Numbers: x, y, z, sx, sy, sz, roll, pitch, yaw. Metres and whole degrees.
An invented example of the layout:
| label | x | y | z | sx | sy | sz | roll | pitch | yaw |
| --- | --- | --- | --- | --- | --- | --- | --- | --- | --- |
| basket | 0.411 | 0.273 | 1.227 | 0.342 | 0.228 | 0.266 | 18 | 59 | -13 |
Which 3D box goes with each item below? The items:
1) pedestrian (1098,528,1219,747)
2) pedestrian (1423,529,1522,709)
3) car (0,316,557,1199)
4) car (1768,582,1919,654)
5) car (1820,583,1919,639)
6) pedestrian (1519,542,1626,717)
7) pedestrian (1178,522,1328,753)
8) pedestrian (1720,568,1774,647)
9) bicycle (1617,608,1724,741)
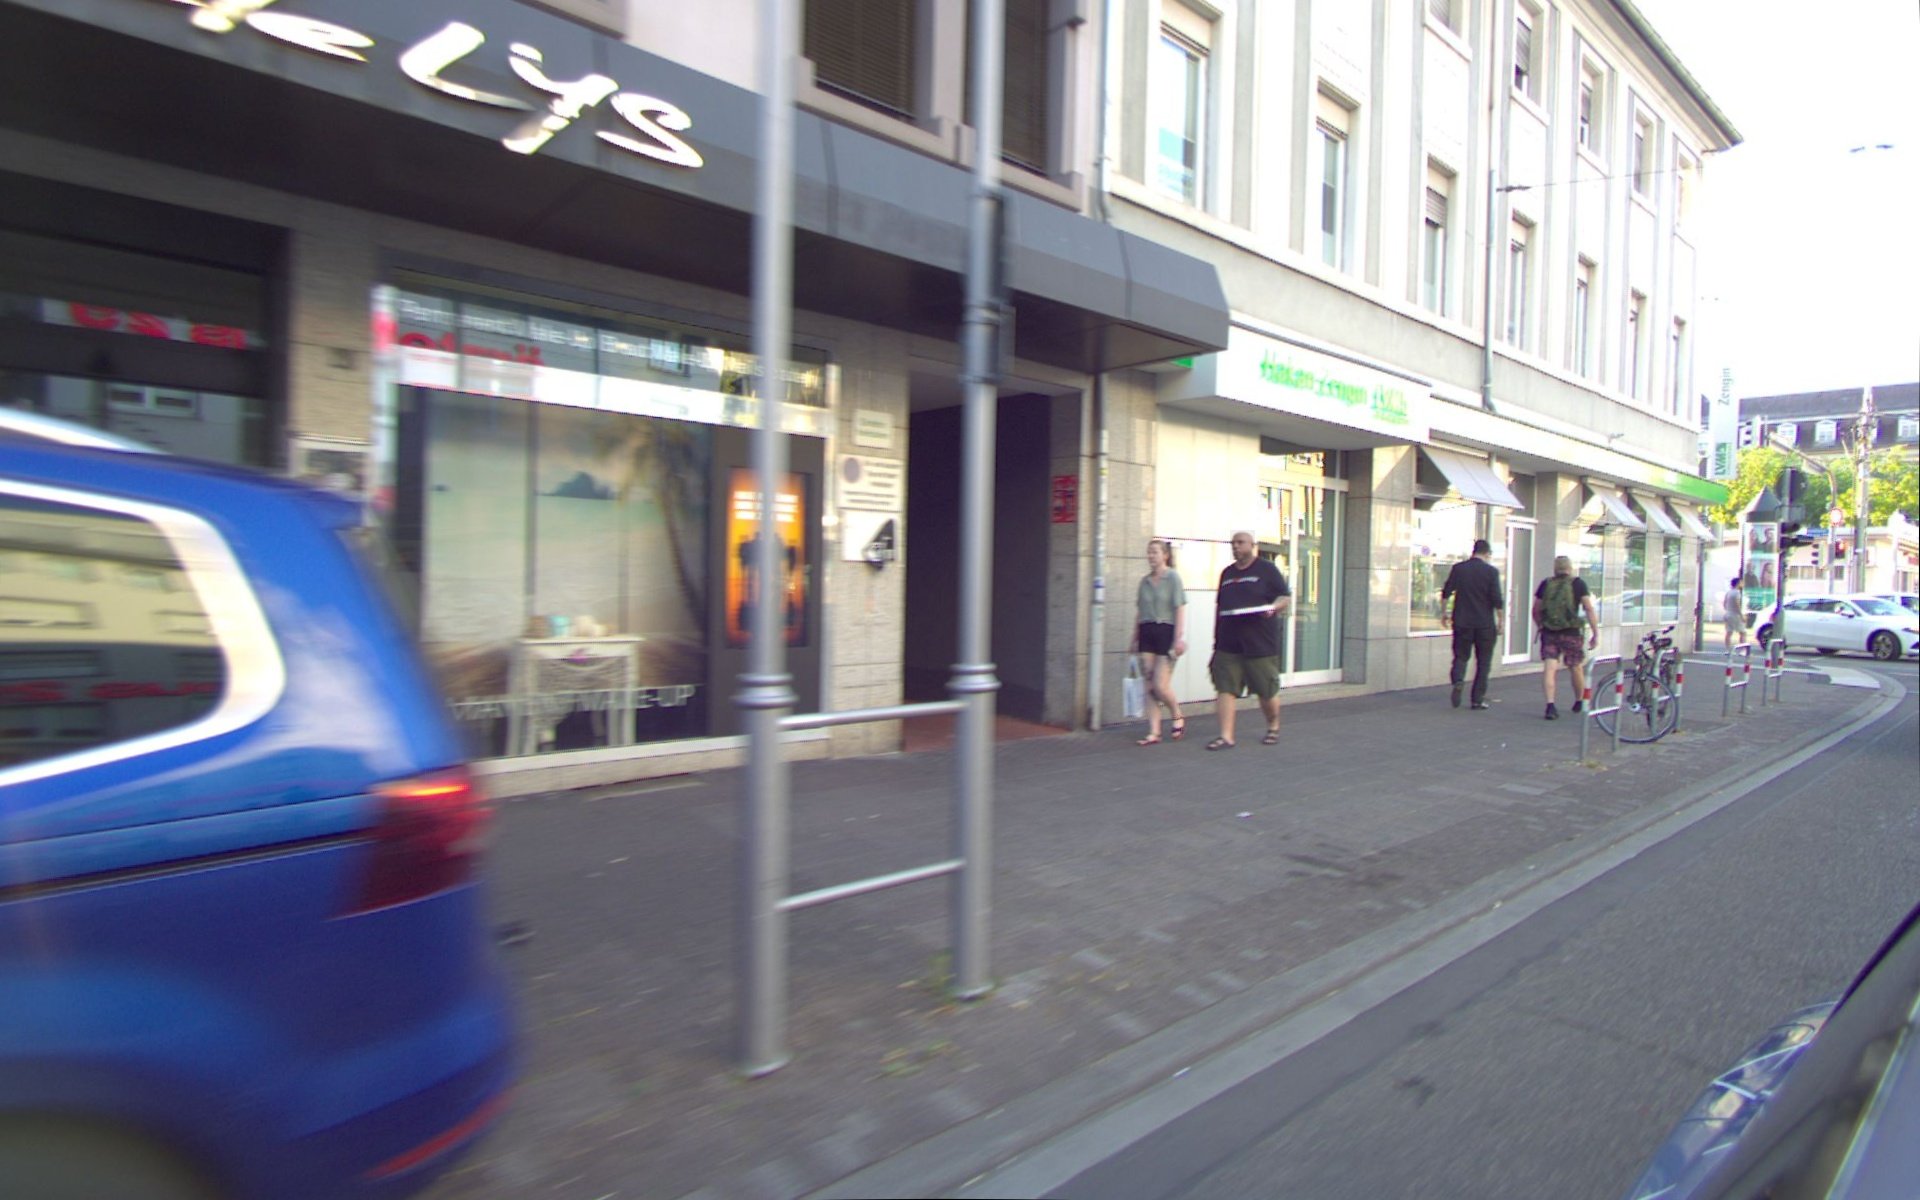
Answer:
| label | x | y | z | sx | sy | sz | roll | pitch | yaw |
| --- | --- | --- | --- | --- | --- | --- | --- | --- | --- |
| pedestrian | 1.671 | 0.285 | 8.537 | 0.666 | 1.739 | 0.651 | 0 | 4 | -40 |
| pedestrian | 5.807 | 0.188 | 11.458 | 0.864 | 1.951 | 0.662 | 0 | 3 | -42 |
| car | -3.082 | 0.450 | 1.114 | 4.496 | 1.748 | 1.998 | 0 | 4 | -41 |
| car | 21.131 | 0.365 | 23.175 | 1.792 | 1.490 | 3.991 | 0 | 2 | -6 |
| car | 26.718 | 0.314 | 28.141 | 1.688 | 1.490 | 3.983 | 0 | 2 | -38 |
| pedestrian | 6.804 | 0.296 | 11.247 | 0.836 | 1.851 | 0.738 | 0 | 3 | -42 |
| pedestrian | 2.470 | 0.274 | 8.552 | 0.911 | 1.828 | 0.768 | 0 | 3 | -39 |
| pedestrian | 17.918 | 0.161 | 23.042 | 0.640 | 1.764 | 0.696 | 1 | 1 | -19 |
| bicycle | 6.980 | 0.686 | 9.920 | 1.465 | 1.161 | 0.534 | 0 | 2 | -43 |
